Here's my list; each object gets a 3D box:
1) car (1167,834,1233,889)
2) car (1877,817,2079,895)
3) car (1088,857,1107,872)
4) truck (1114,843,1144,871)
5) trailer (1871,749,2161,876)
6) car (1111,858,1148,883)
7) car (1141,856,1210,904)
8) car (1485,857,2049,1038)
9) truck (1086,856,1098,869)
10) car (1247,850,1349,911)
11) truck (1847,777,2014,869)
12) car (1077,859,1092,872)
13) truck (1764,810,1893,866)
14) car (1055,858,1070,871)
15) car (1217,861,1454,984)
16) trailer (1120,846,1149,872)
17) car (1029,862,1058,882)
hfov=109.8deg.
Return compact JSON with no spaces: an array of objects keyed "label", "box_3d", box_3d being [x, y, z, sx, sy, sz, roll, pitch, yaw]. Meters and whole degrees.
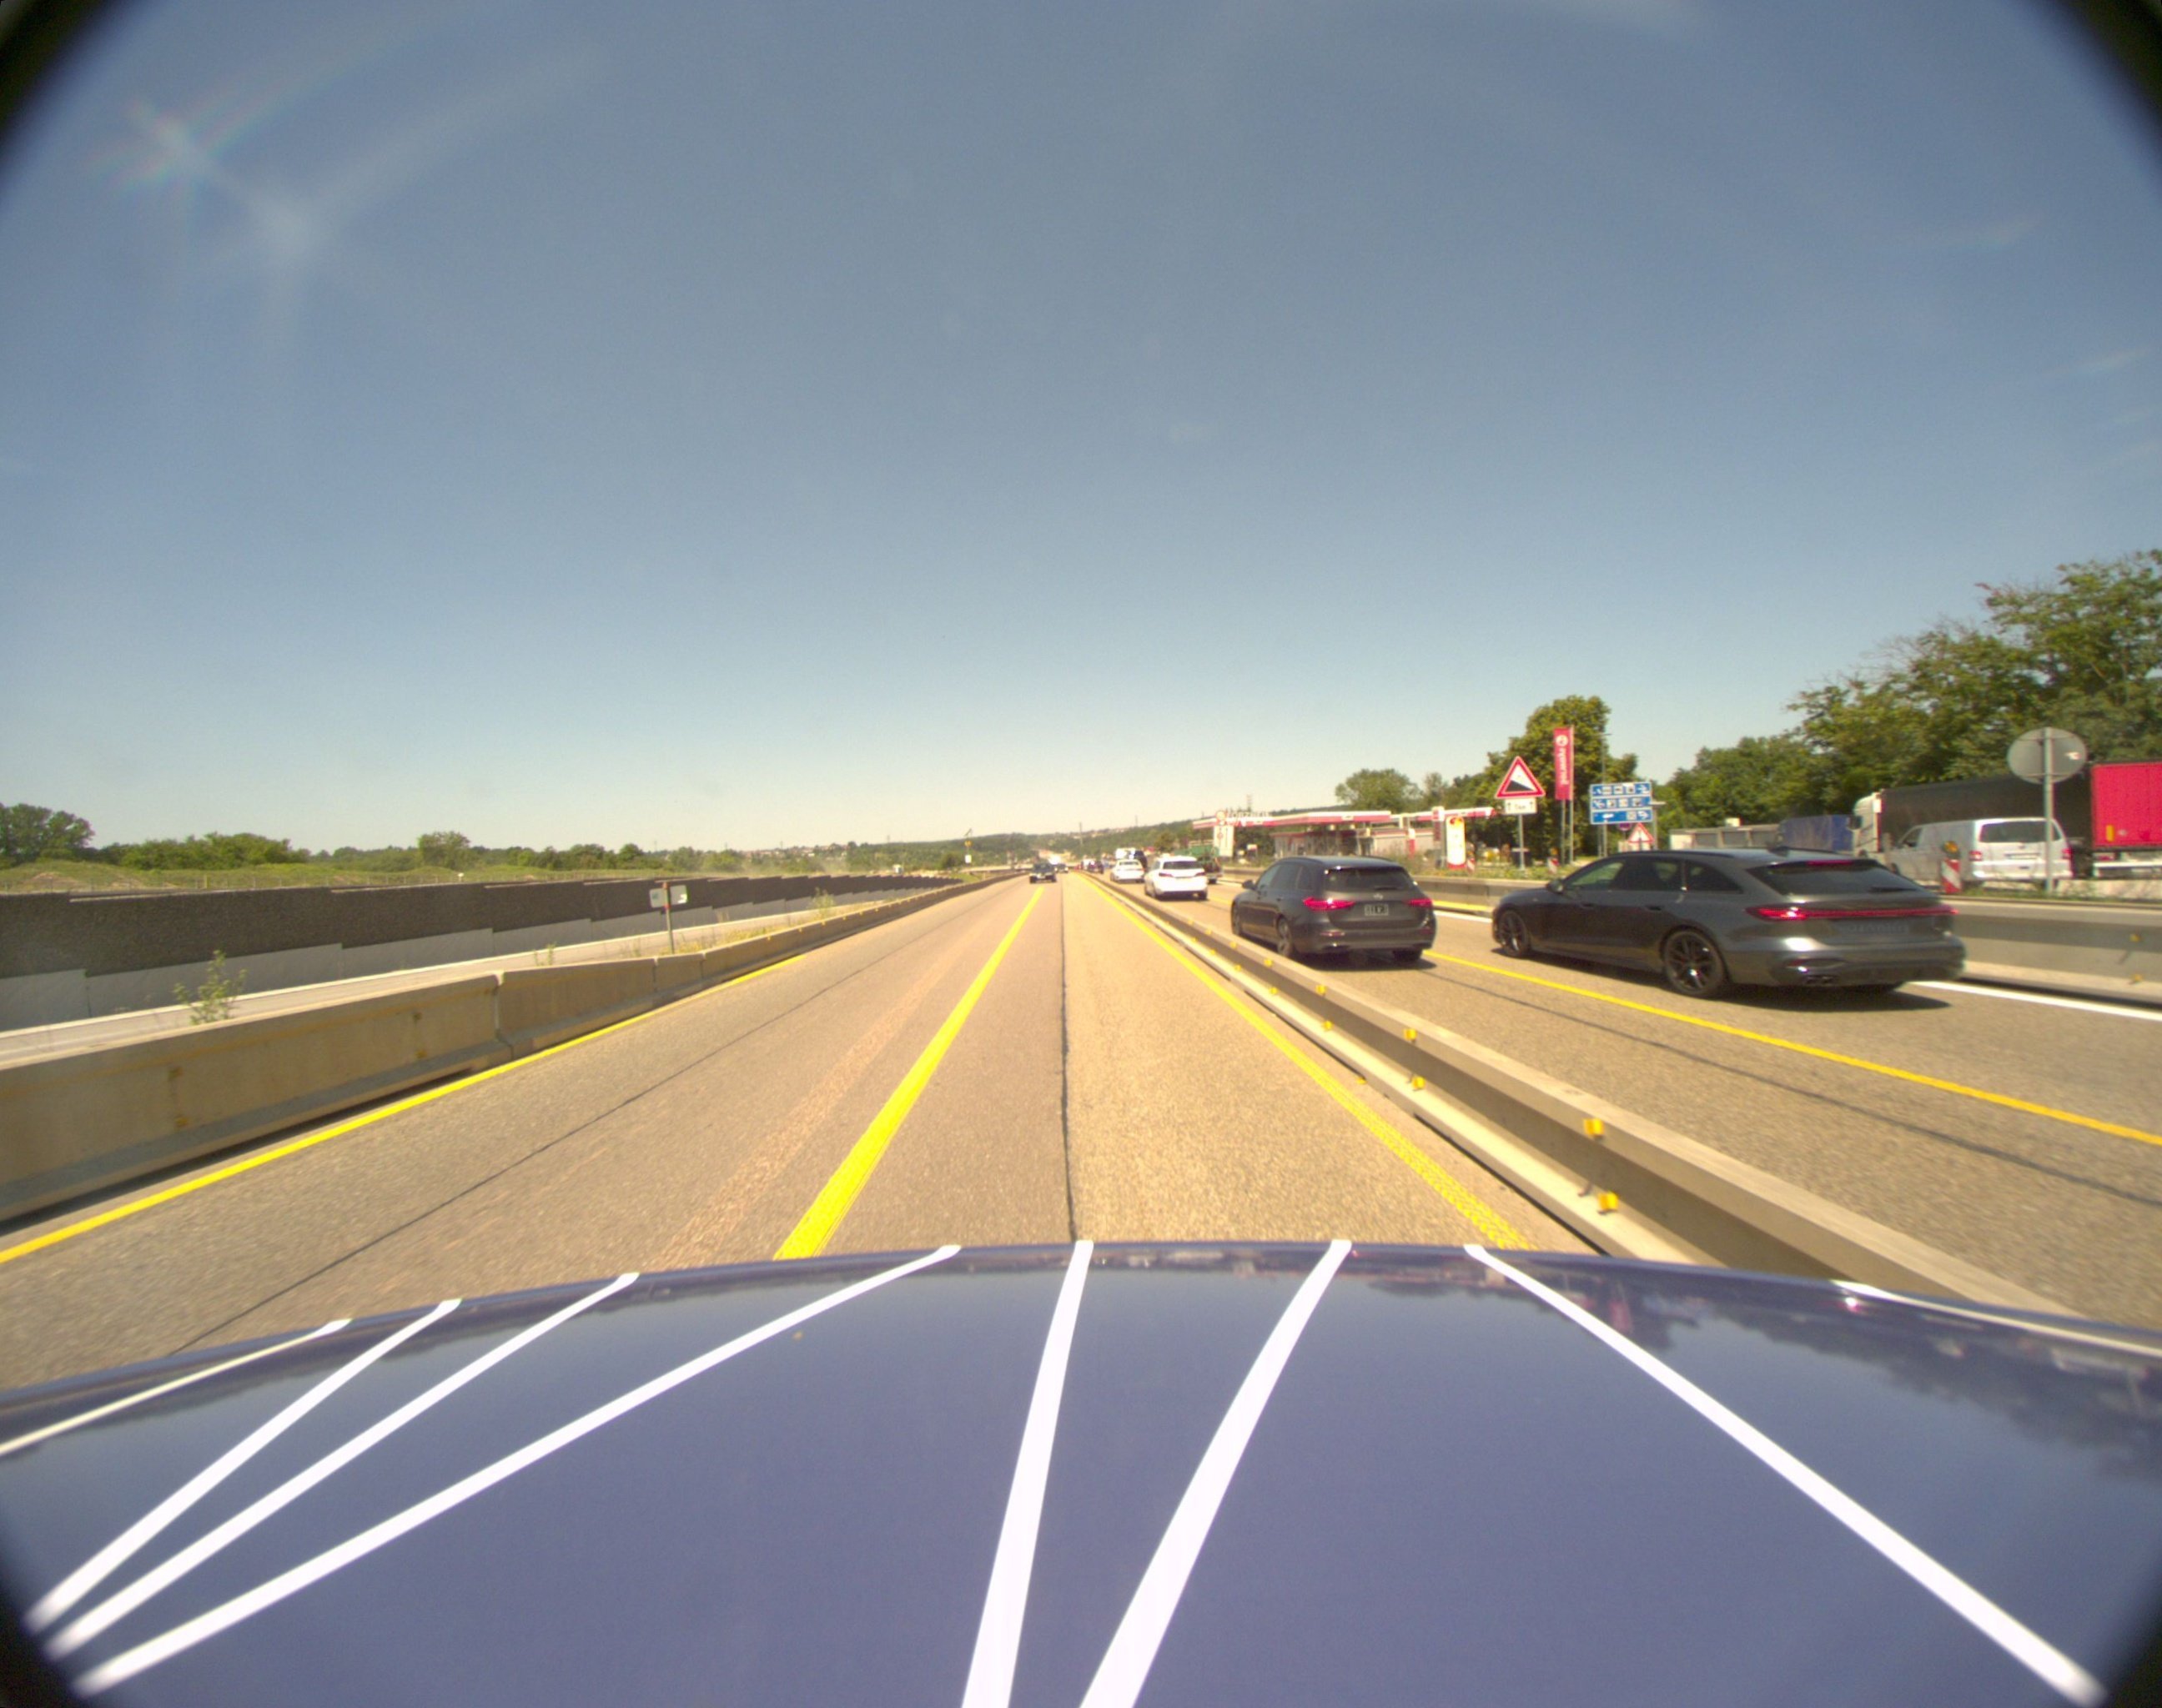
[{"label":"car","box_3d":[5.972,0.362,38.929,1.919,2.385,6.451,-6,0,-2]},{"label":"car","box_3d":[25.378,0.087,21.812,1.919,1.929,5.103,-2,-1,28]},{"label":"car","box_3d":[1.827,1.221,85.723,1.909,1.599,4.000,-2,-1,-1]},{"label":"truck","box_3d":[4.942,0.331,79.626,2.486,2.807,8.128,-2,0,-1]},{"label":"trailer","box_3d":[37.950,-1.392,30.999,3.152,4.087,14.188,-1,0,26]},{"label":"car","box_3d":[2.843,0.929,45.634,1.821,1.368,4.246,-1,0,-2]},{"label":"car","box_3d":[3.231,0.840,26.762,1.738,1.469,4.519,-3,0,-1]},{"label":"car","box_3d":[6.730,0.765,8.381,1.999,1.390,4.580,-1,0,-1]},{"label":"truck","box_3d":[2.477,1.870,168.740,2.245,2.769,6.492,-2,-1,-2]},{"label":"car","box_3d":[6.378,0.741,22.781,1.771,1.588,3.999,-2,0,-2]},{"label":"truck","box_3d":[40.689,-1.348,36.733,3.152,3.961,6.358,-1,0,26]},{"label":"car","box_3d":[0.473,1.611,105.818,1.858,1.828,4.591,-2,-1,-2]},{"label":"truck","box_3d":[44.590,-0.895,45.642,2.822,3.045,7.132,-1,0,21]},{"label":"car","box_3d":[-2.627,1.516,106.816,1.818,1.652,3.999,-5,0,-3]},{"label":"car","box_3d":[3.454,0.832,11.400,1.779,1.419,4.769,-1,0,-2]},{"label":"trailer","box_3d":[5.053,0.532,72.737,2.187,2.300,5.614,-2,-1,-1]},{"label":"car","box_3d":[-2.516,1.223,52.192,1.810,1.299,4.001,-1,-1,0]}]
